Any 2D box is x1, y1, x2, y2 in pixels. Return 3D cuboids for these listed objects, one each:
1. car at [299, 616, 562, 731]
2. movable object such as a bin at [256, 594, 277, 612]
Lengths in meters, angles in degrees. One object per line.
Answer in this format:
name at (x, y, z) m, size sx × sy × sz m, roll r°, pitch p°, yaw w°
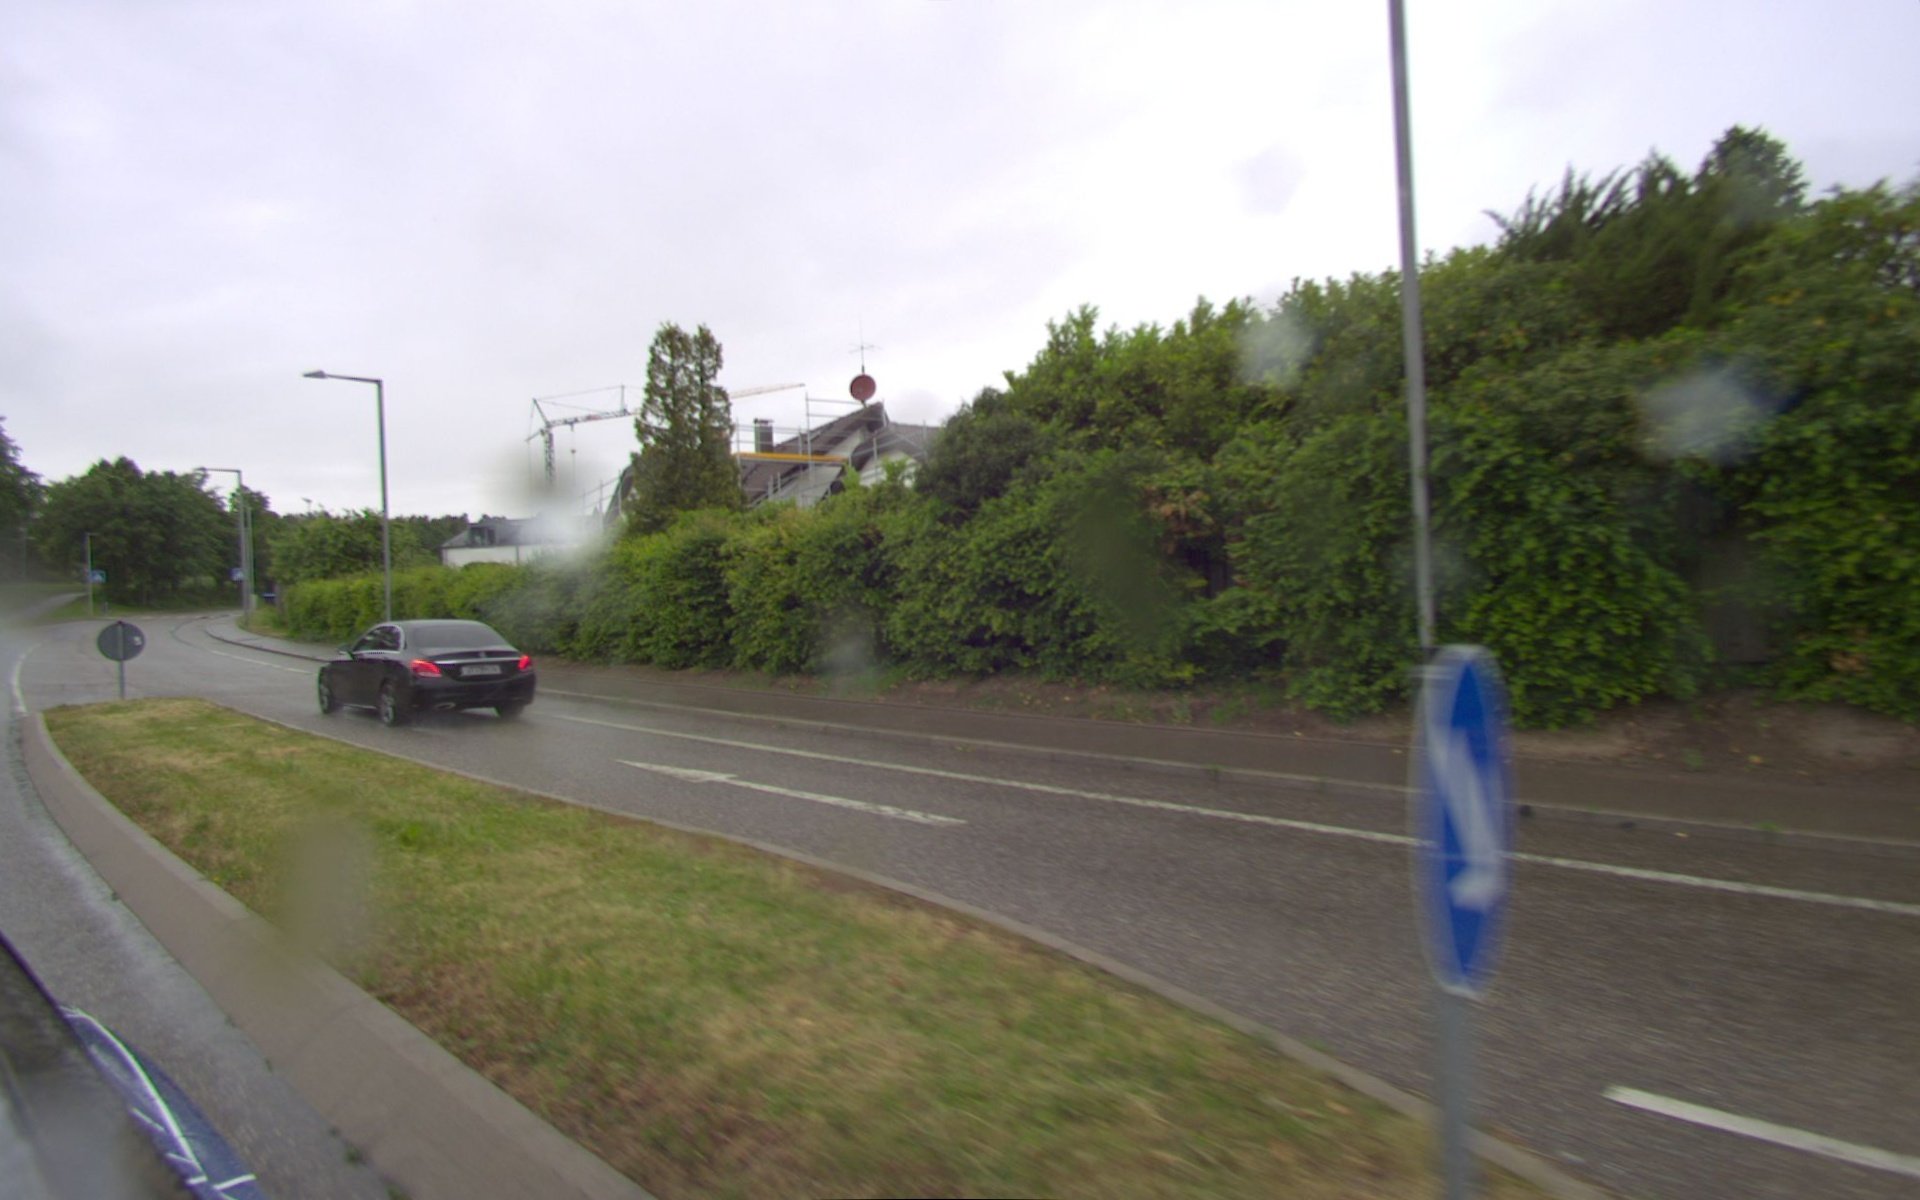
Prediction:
car at (-7.818, 0.966, 14.770) m, size 4.413 × 1.425 × 1.947 m, roll -1°, pitch -1°, yaw 41°
movable object such as a bin at (-56.735, 0.225, 82.827) m, size 1.116 × 1.331 × 1.367 m, roll -6°, pitch 3°, yaw -25°
